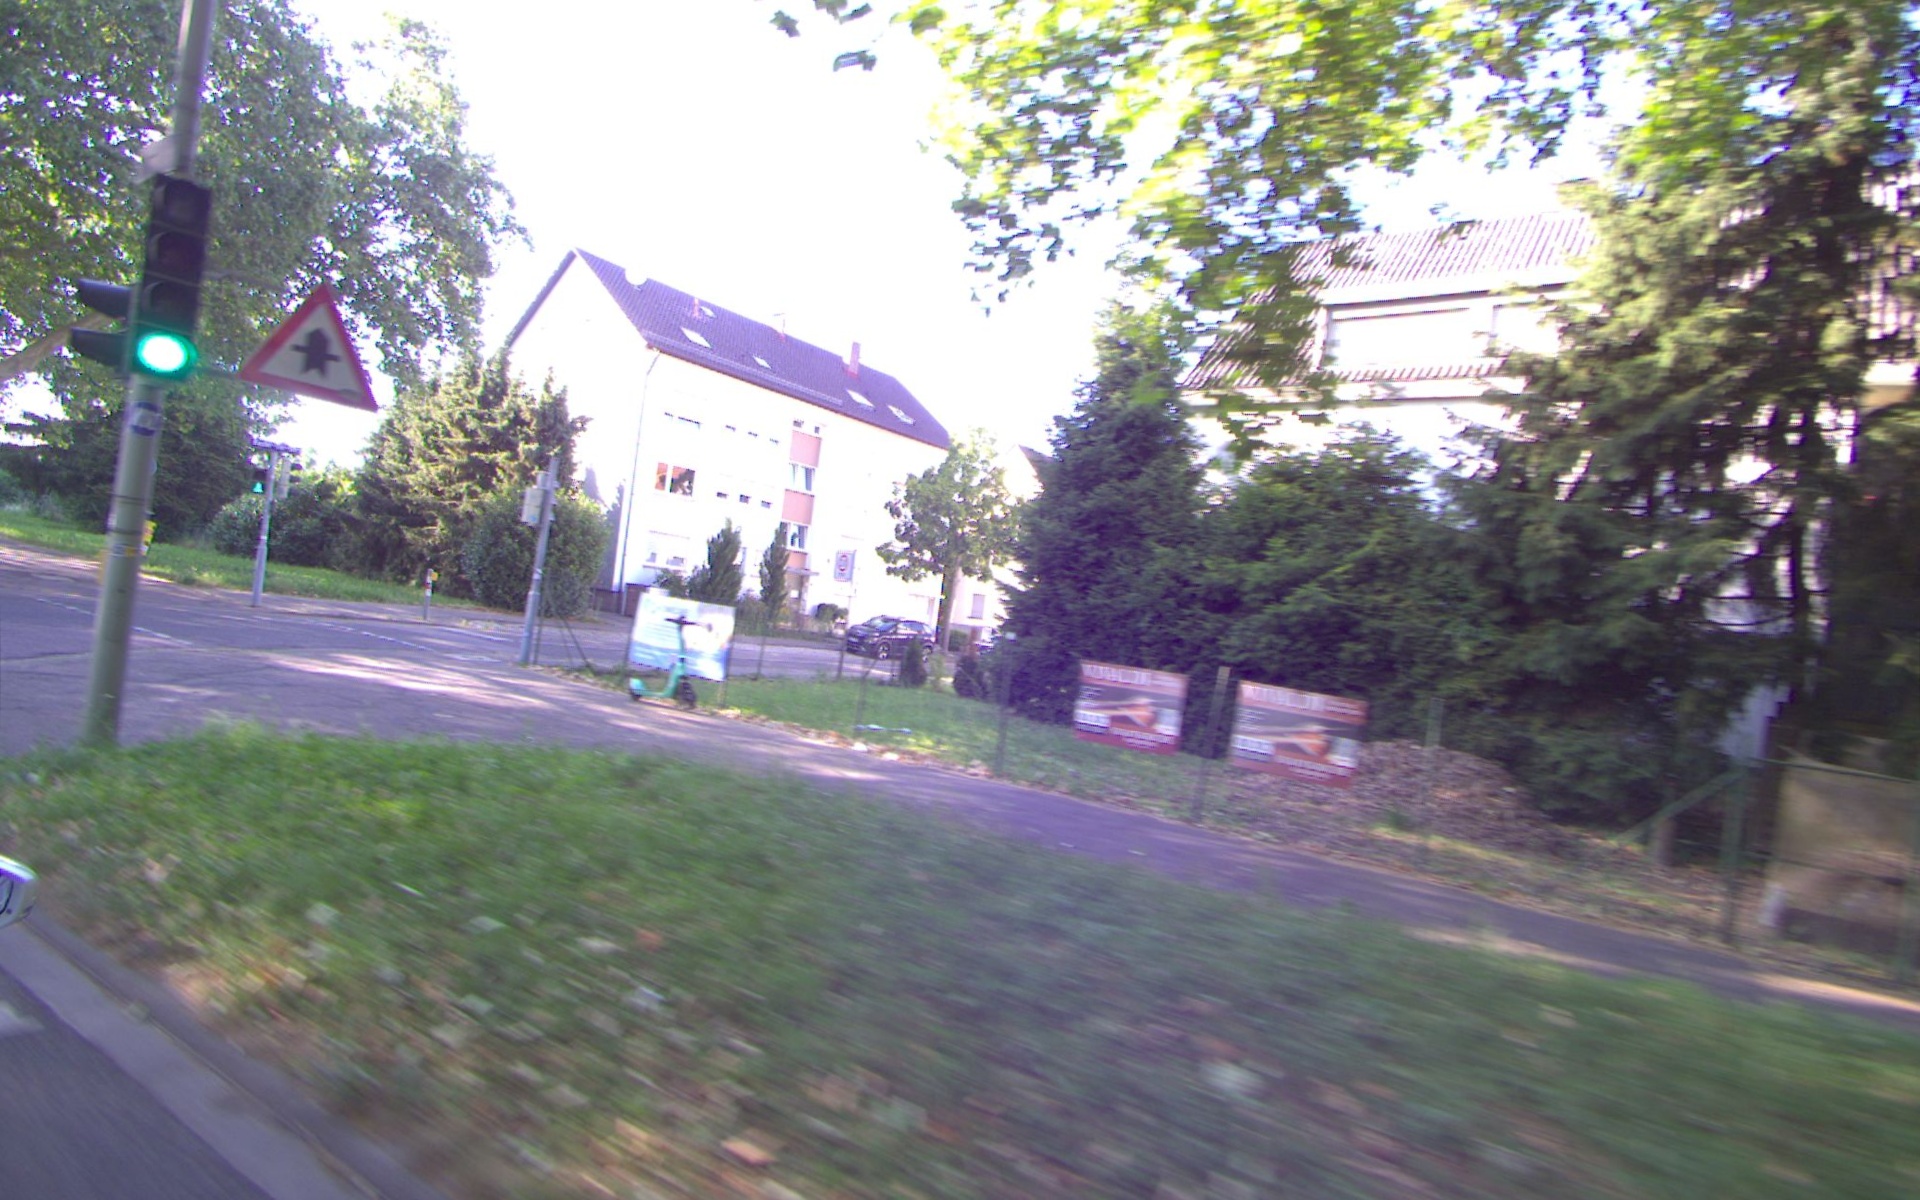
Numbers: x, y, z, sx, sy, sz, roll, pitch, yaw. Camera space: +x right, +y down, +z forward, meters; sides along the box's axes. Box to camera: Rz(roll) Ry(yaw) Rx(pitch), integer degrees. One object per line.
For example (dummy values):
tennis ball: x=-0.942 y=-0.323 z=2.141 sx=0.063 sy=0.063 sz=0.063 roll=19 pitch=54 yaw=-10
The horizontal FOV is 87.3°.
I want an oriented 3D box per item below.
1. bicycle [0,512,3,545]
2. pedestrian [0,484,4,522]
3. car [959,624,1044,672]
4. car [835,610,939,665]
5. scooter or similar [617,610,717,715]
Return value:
bicycle: x=-21.379 y=-1.454 z=21.367 sx=1.970 sy=1.097 sz=0.446 roll=8 pitch=2 yaw=13
pedestrian: x=-28.633 y=-2.627 z=29.334 sx=0.923 sy=1.670 sz=0.780 roll=7 pitch=0 yaw=32
car: x=1.896 y=2.172 z=44.934 sx=1.839 sy=1.614 sz=3.750 roll=11 pitch=1 yaw=35
car: x=-2.749 y=1.466 z=38.626 sx=1.839 sy=1.614 sz=3.750 roll=11 pitch=1 yaw=35
scooter or similar: x=-3.905 y=0.828 z=13.389 sx=1.234 sy=1.210 sz=0.383 roll=8 pitch=-1 yaw=31
